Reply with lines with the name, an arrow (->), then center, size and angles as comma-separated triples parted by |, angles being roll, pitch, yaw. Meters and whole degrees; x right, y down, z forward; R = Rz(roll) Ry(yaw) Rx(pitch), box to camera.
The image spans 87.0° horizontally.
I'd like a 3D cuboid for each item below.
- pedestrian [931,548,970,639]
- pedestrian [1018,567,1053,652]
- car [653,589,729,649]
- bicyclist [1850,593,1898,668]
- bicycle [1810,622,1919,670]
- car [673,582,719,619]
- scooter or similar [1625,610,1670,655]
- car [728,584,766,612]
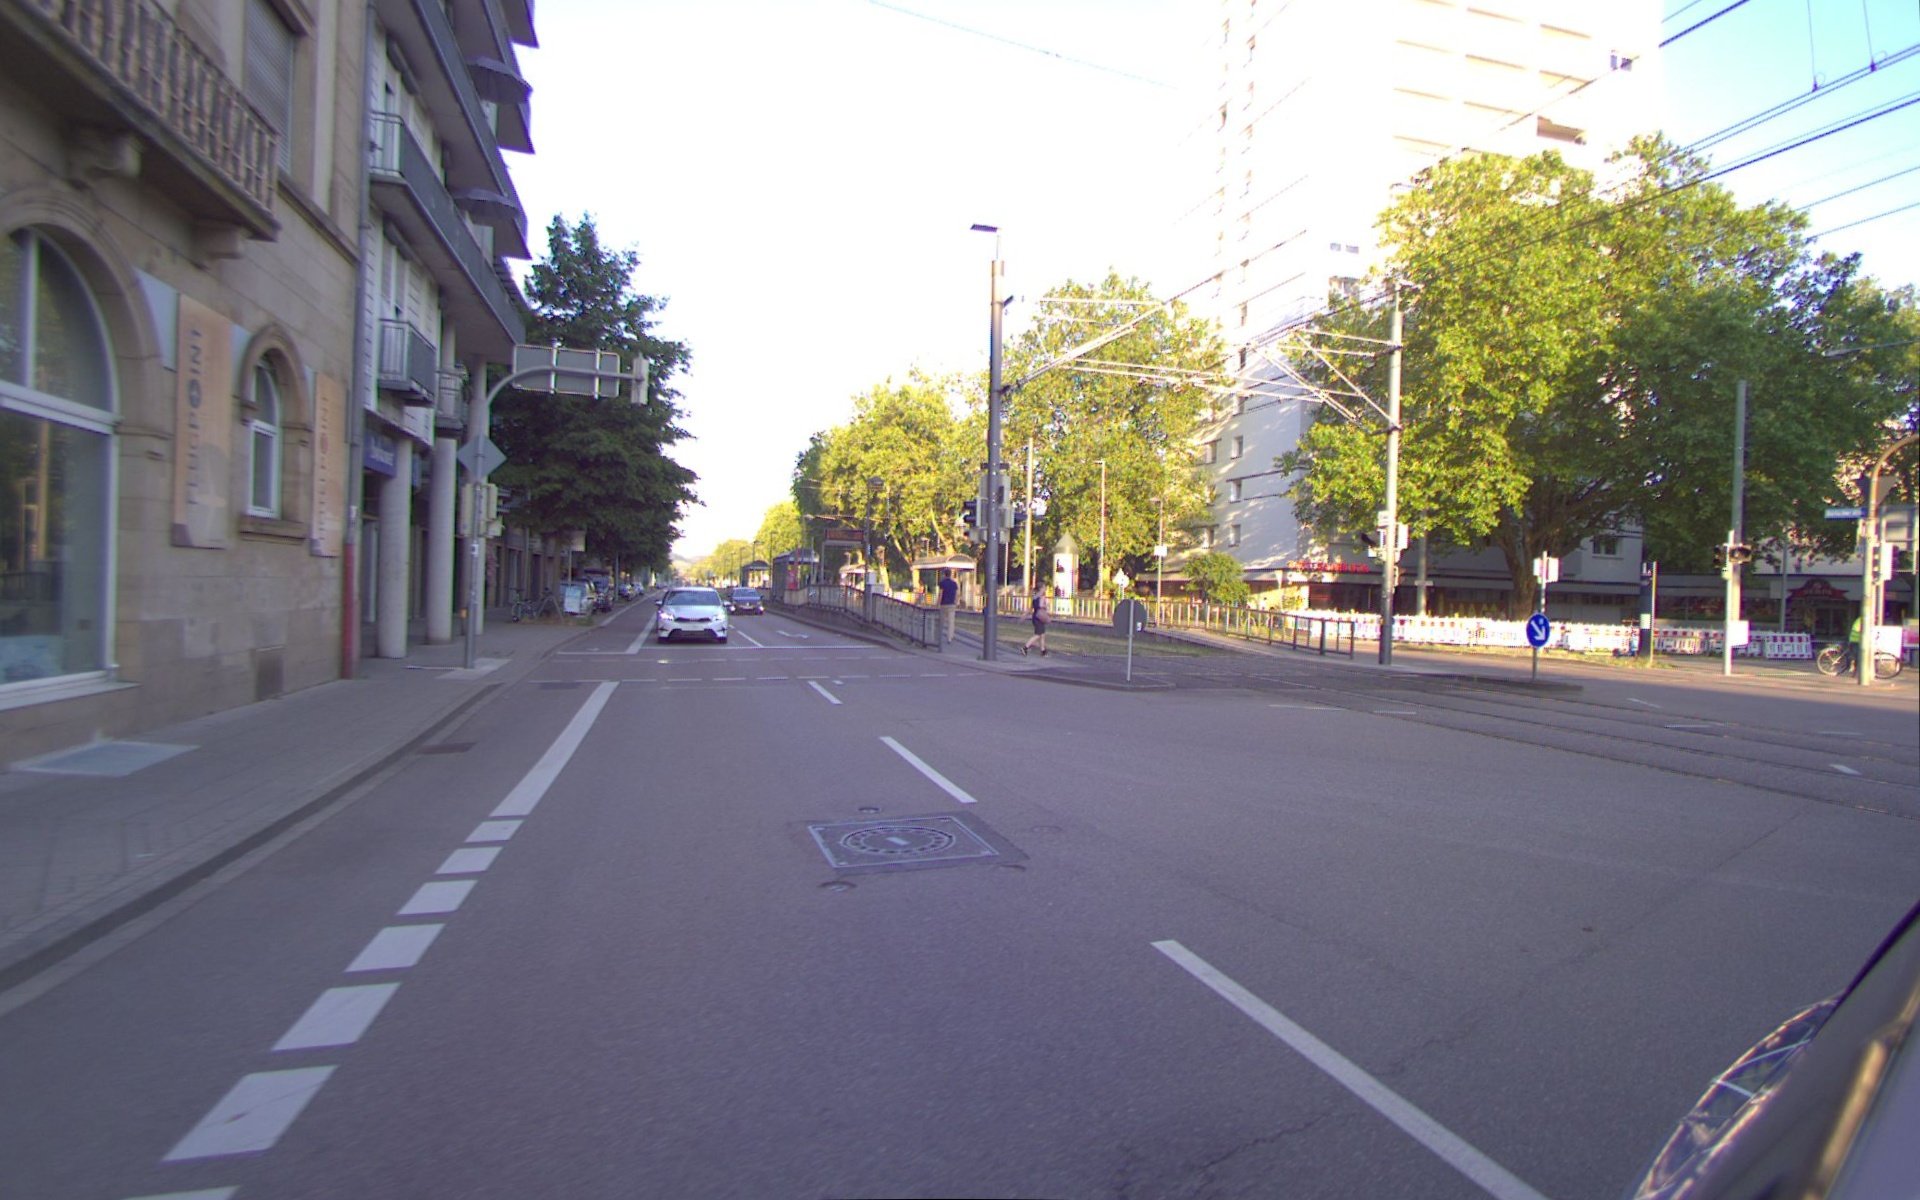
pedestrian -> -0.249, -0.152, 25.312 | 0.804, 2.237, 0.872 | 1, 0, -10
pedestrian -> 1.635, 0.205, 21.929 | 0.532, 1.801, 0.791 | 1, 0, -13
car -> -7.206, 0.469, 27.217 | 1.811, 1.505, 4.008 | 1, 0, -14
bicyclist -> 22.984, 0.764, 25.465 | 0.690, 1.847, 0.624 | 0, -1, 19
bicycle -> 22.849, 1.145, 25.520 | 2.046, 1.123, 0.624 | 1, 0, 20
car -> -11.228, 0.024, 43.070 | 1.811, 1.505, 4.008 | 1, 0, -14
scooter or similar -> 20.211, 0.936, 29.771 | 0.506, 1.265, 1.234 | 1, 0, 1
car -> -11.279, -0.103, 53.698 | 1.759, 1.371, 4.006 | 1, 0, -9
